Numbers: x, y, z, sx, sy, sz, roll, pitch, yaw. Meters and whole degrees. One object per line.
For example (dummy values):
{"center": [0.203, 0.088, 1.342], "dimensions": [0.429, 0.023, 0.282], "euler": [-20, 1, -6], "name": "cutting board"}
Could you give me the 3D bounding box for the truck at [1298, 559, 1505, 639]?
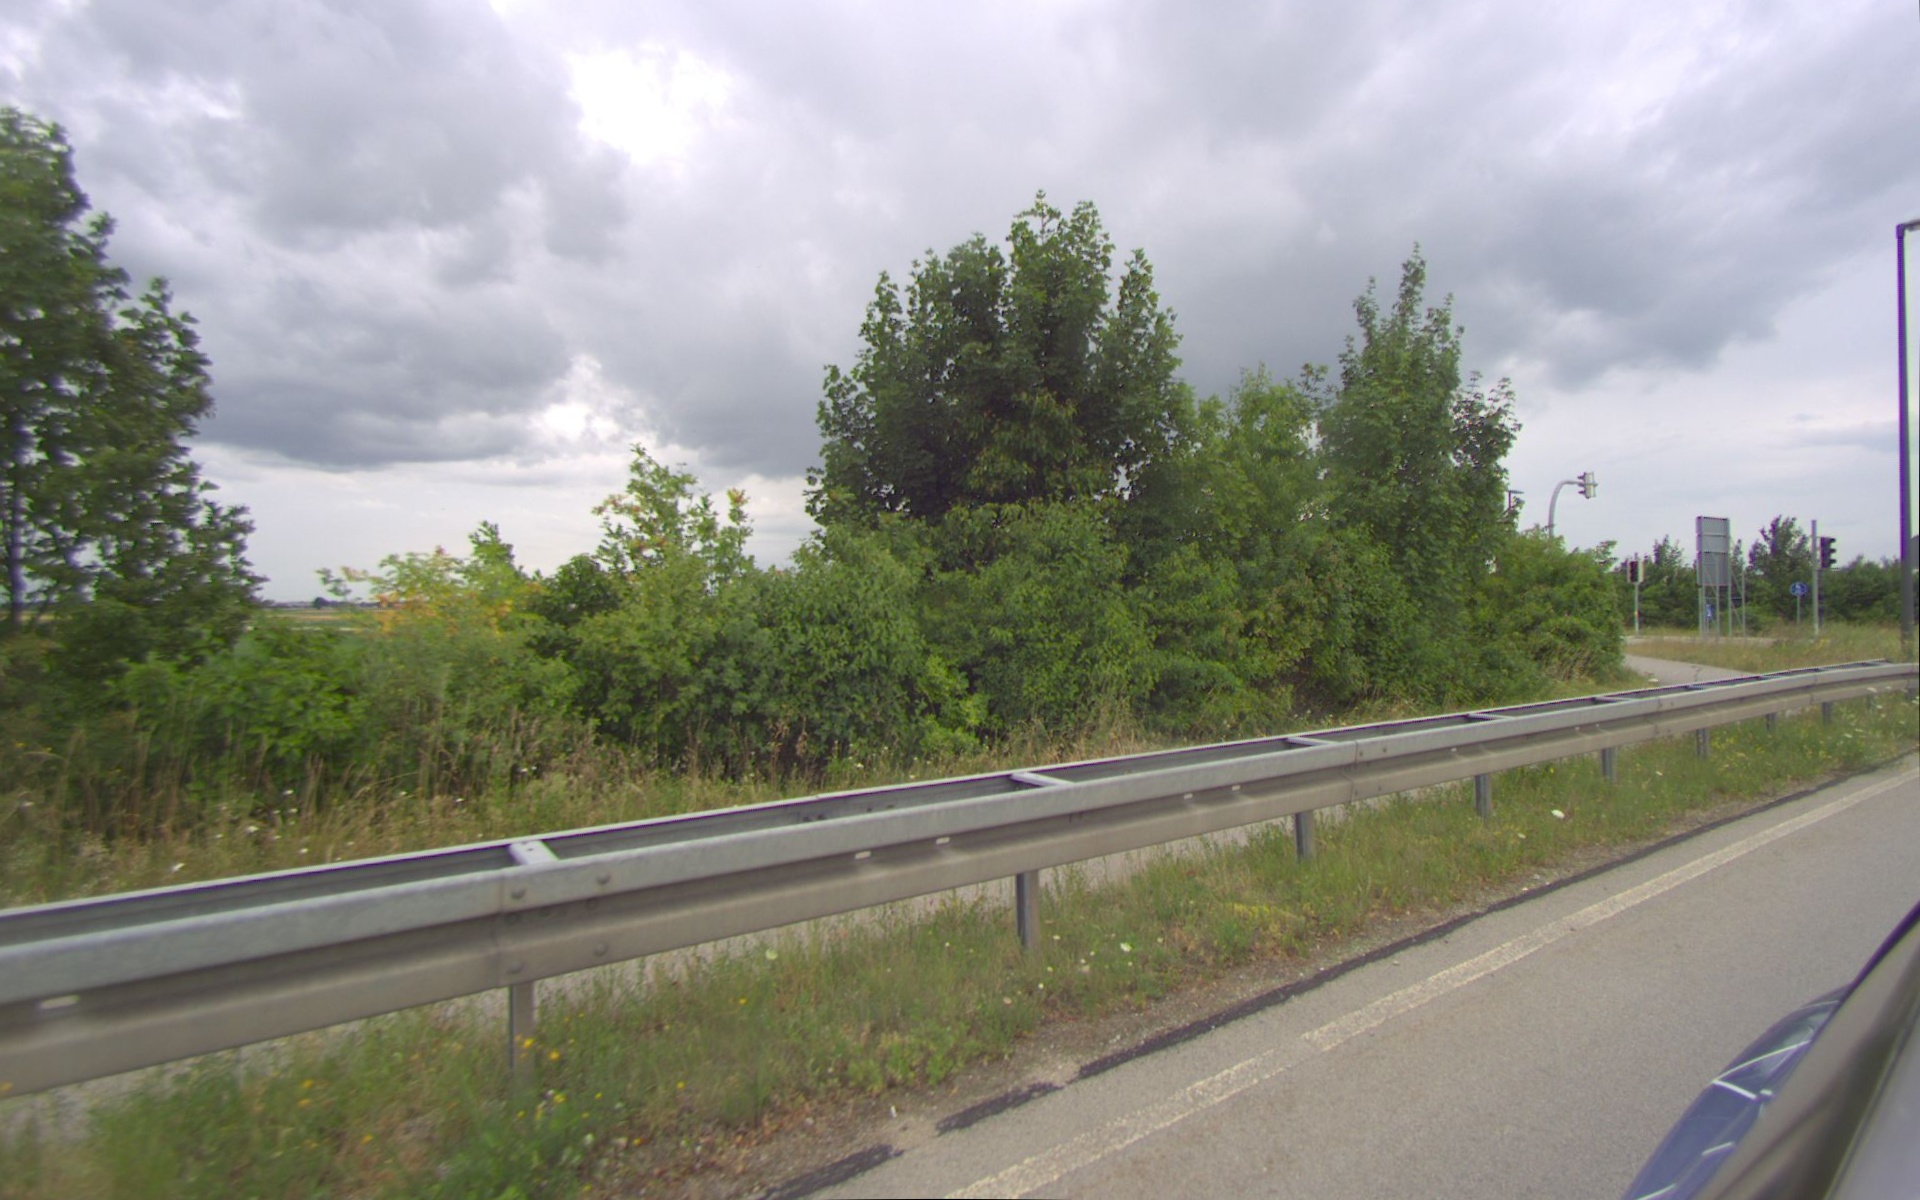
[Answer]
{"center": [20.730, 0.015, 48.089], "dimensions": [2.829, 3.451, 8.636], "euler": [-1, -1, -40], "name": "truck"}
